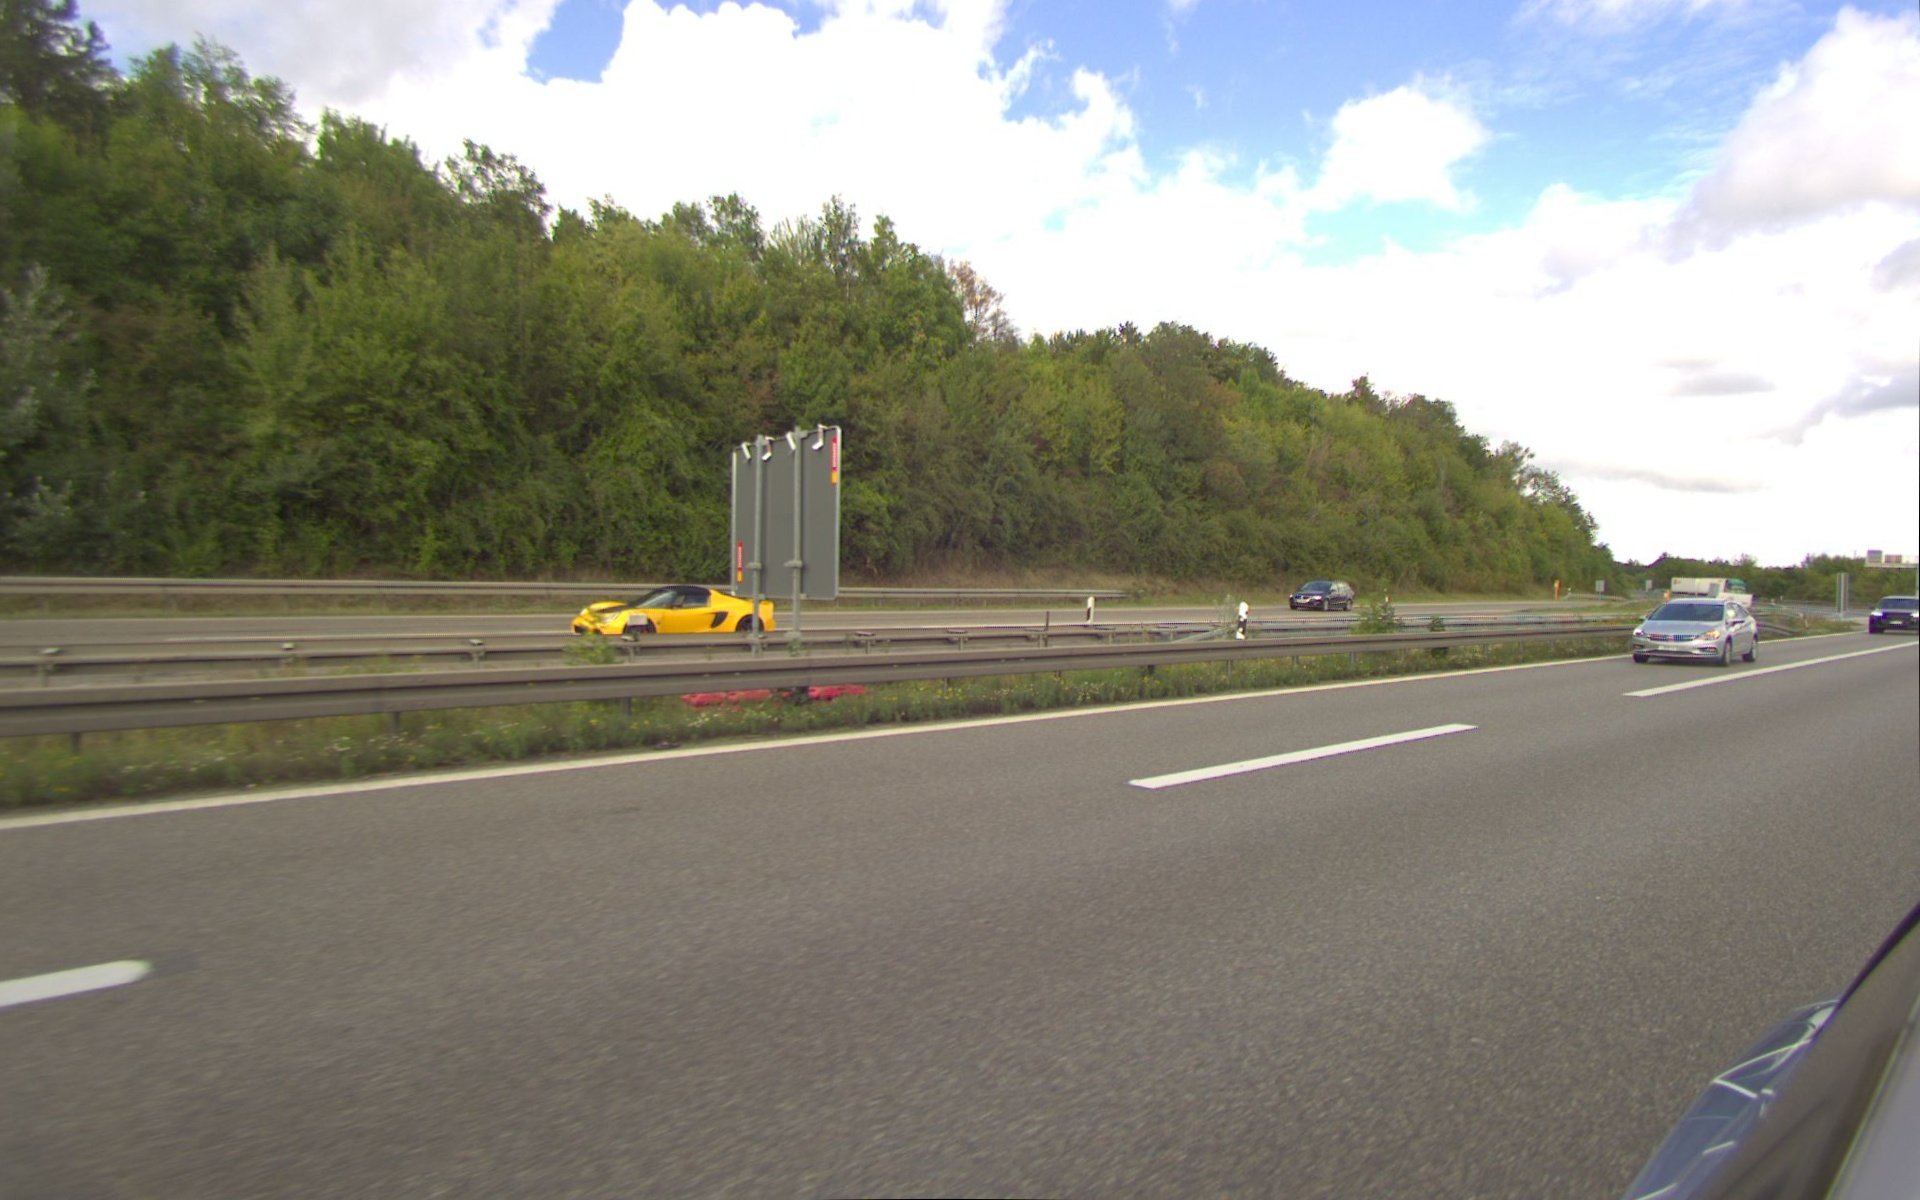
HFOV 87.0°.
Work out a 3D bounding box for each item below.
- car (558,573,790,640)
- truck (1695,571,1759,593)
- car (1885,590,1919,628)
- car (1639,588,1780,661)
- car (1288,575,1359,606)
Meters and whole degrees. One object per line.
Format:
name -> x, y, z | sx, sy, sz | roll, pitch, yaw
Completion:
car -> -5.571, 0.108, 20.011 | 4.096, 1.196, 1.715 | 0, 1, -41
truck -> 138.920, -3.295, 183.580 | 2.920, 3.845, 13.431 | 1, 1, 8
car -> 43.869, 0.391, 46.309 | 4.776, 1.656, 1.874 | 0, 1, -43
car -> 17.410, 0.509, 23.423 | 4.535, 1.503, 1.686 | 0, 1, -41
car -> 17.725, -0.472, 49.297 | 1.712, 1.433, 4.102 | 3, 2, 44
